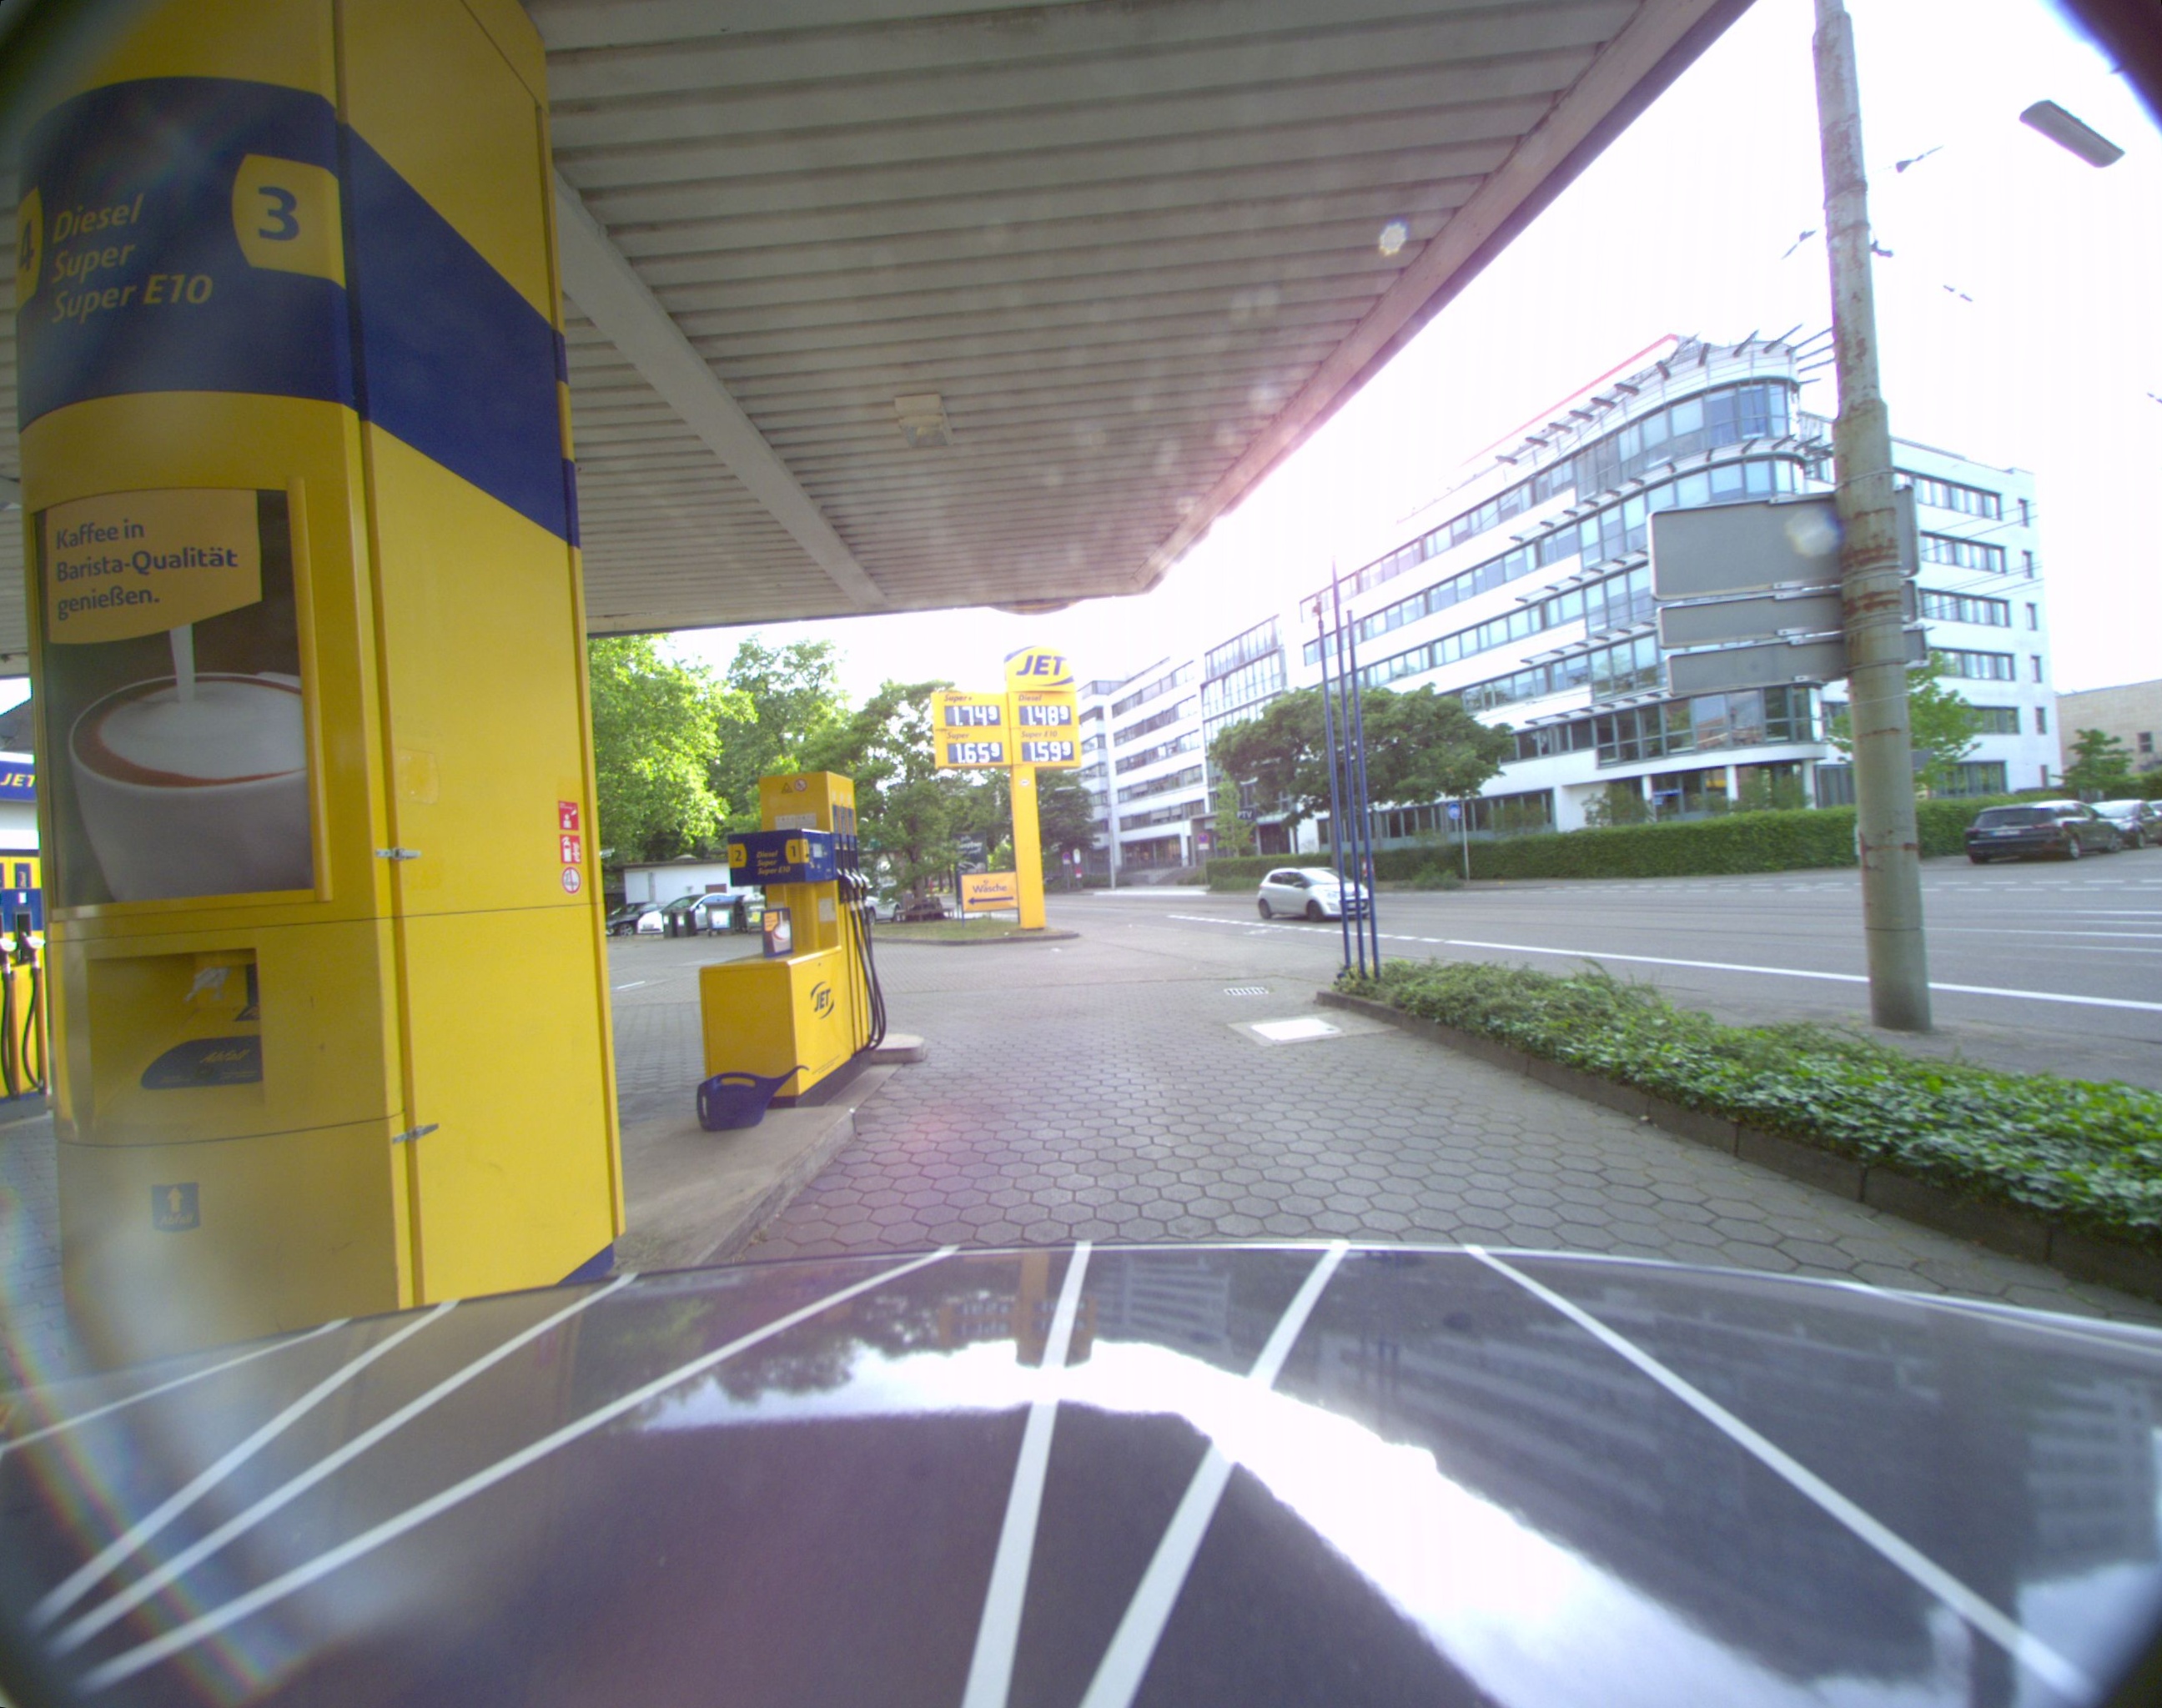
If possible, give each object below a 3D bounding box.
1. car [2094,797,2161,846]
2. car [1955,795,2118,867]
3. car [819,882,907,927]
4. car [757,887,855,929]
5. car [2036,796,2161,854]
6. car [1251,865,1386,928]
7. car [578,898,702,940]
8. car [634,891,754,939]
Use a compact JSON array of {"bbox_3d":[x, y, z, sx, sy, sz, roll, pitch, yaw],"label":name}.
[{"bbox_3d":[37.133,-1.192,26.143,4.296,1.509,1.945,-4,-1,-27],"label":"car"},{"bbox_3d":[27.280,-0.659,21.688,4.296,1.681,2.010,-4,-1,-27],"label":"car"},{"bbox_3d":[-8.631,2.007,30.496,1.772,1.591,4.398,-4,-4,6],"label":"car"},{"bbox_3d":[-11.649,2.272,32.487,1.771,1.591,4.400,-4,-4,13],"label":"car"},{"bbox_3d":[32.551,-0.936,24.090,4.296,1.530,1.945,-4,-1,-27],"label":"car"},{"bbox_3d":[6.391,1.139,20.845,1.691,1.424,3.422,-5,0,-20],"label":"car"},{"bbox_3d":[-17.789,2.596,30.901,1.771,1.367,4.398,-2,-1,14],"label":"car"},{"bbox_3d":[-15.287,2.370,30.308,1.771,1.591,4.398,-2,-1,14],"label":"car"}]
